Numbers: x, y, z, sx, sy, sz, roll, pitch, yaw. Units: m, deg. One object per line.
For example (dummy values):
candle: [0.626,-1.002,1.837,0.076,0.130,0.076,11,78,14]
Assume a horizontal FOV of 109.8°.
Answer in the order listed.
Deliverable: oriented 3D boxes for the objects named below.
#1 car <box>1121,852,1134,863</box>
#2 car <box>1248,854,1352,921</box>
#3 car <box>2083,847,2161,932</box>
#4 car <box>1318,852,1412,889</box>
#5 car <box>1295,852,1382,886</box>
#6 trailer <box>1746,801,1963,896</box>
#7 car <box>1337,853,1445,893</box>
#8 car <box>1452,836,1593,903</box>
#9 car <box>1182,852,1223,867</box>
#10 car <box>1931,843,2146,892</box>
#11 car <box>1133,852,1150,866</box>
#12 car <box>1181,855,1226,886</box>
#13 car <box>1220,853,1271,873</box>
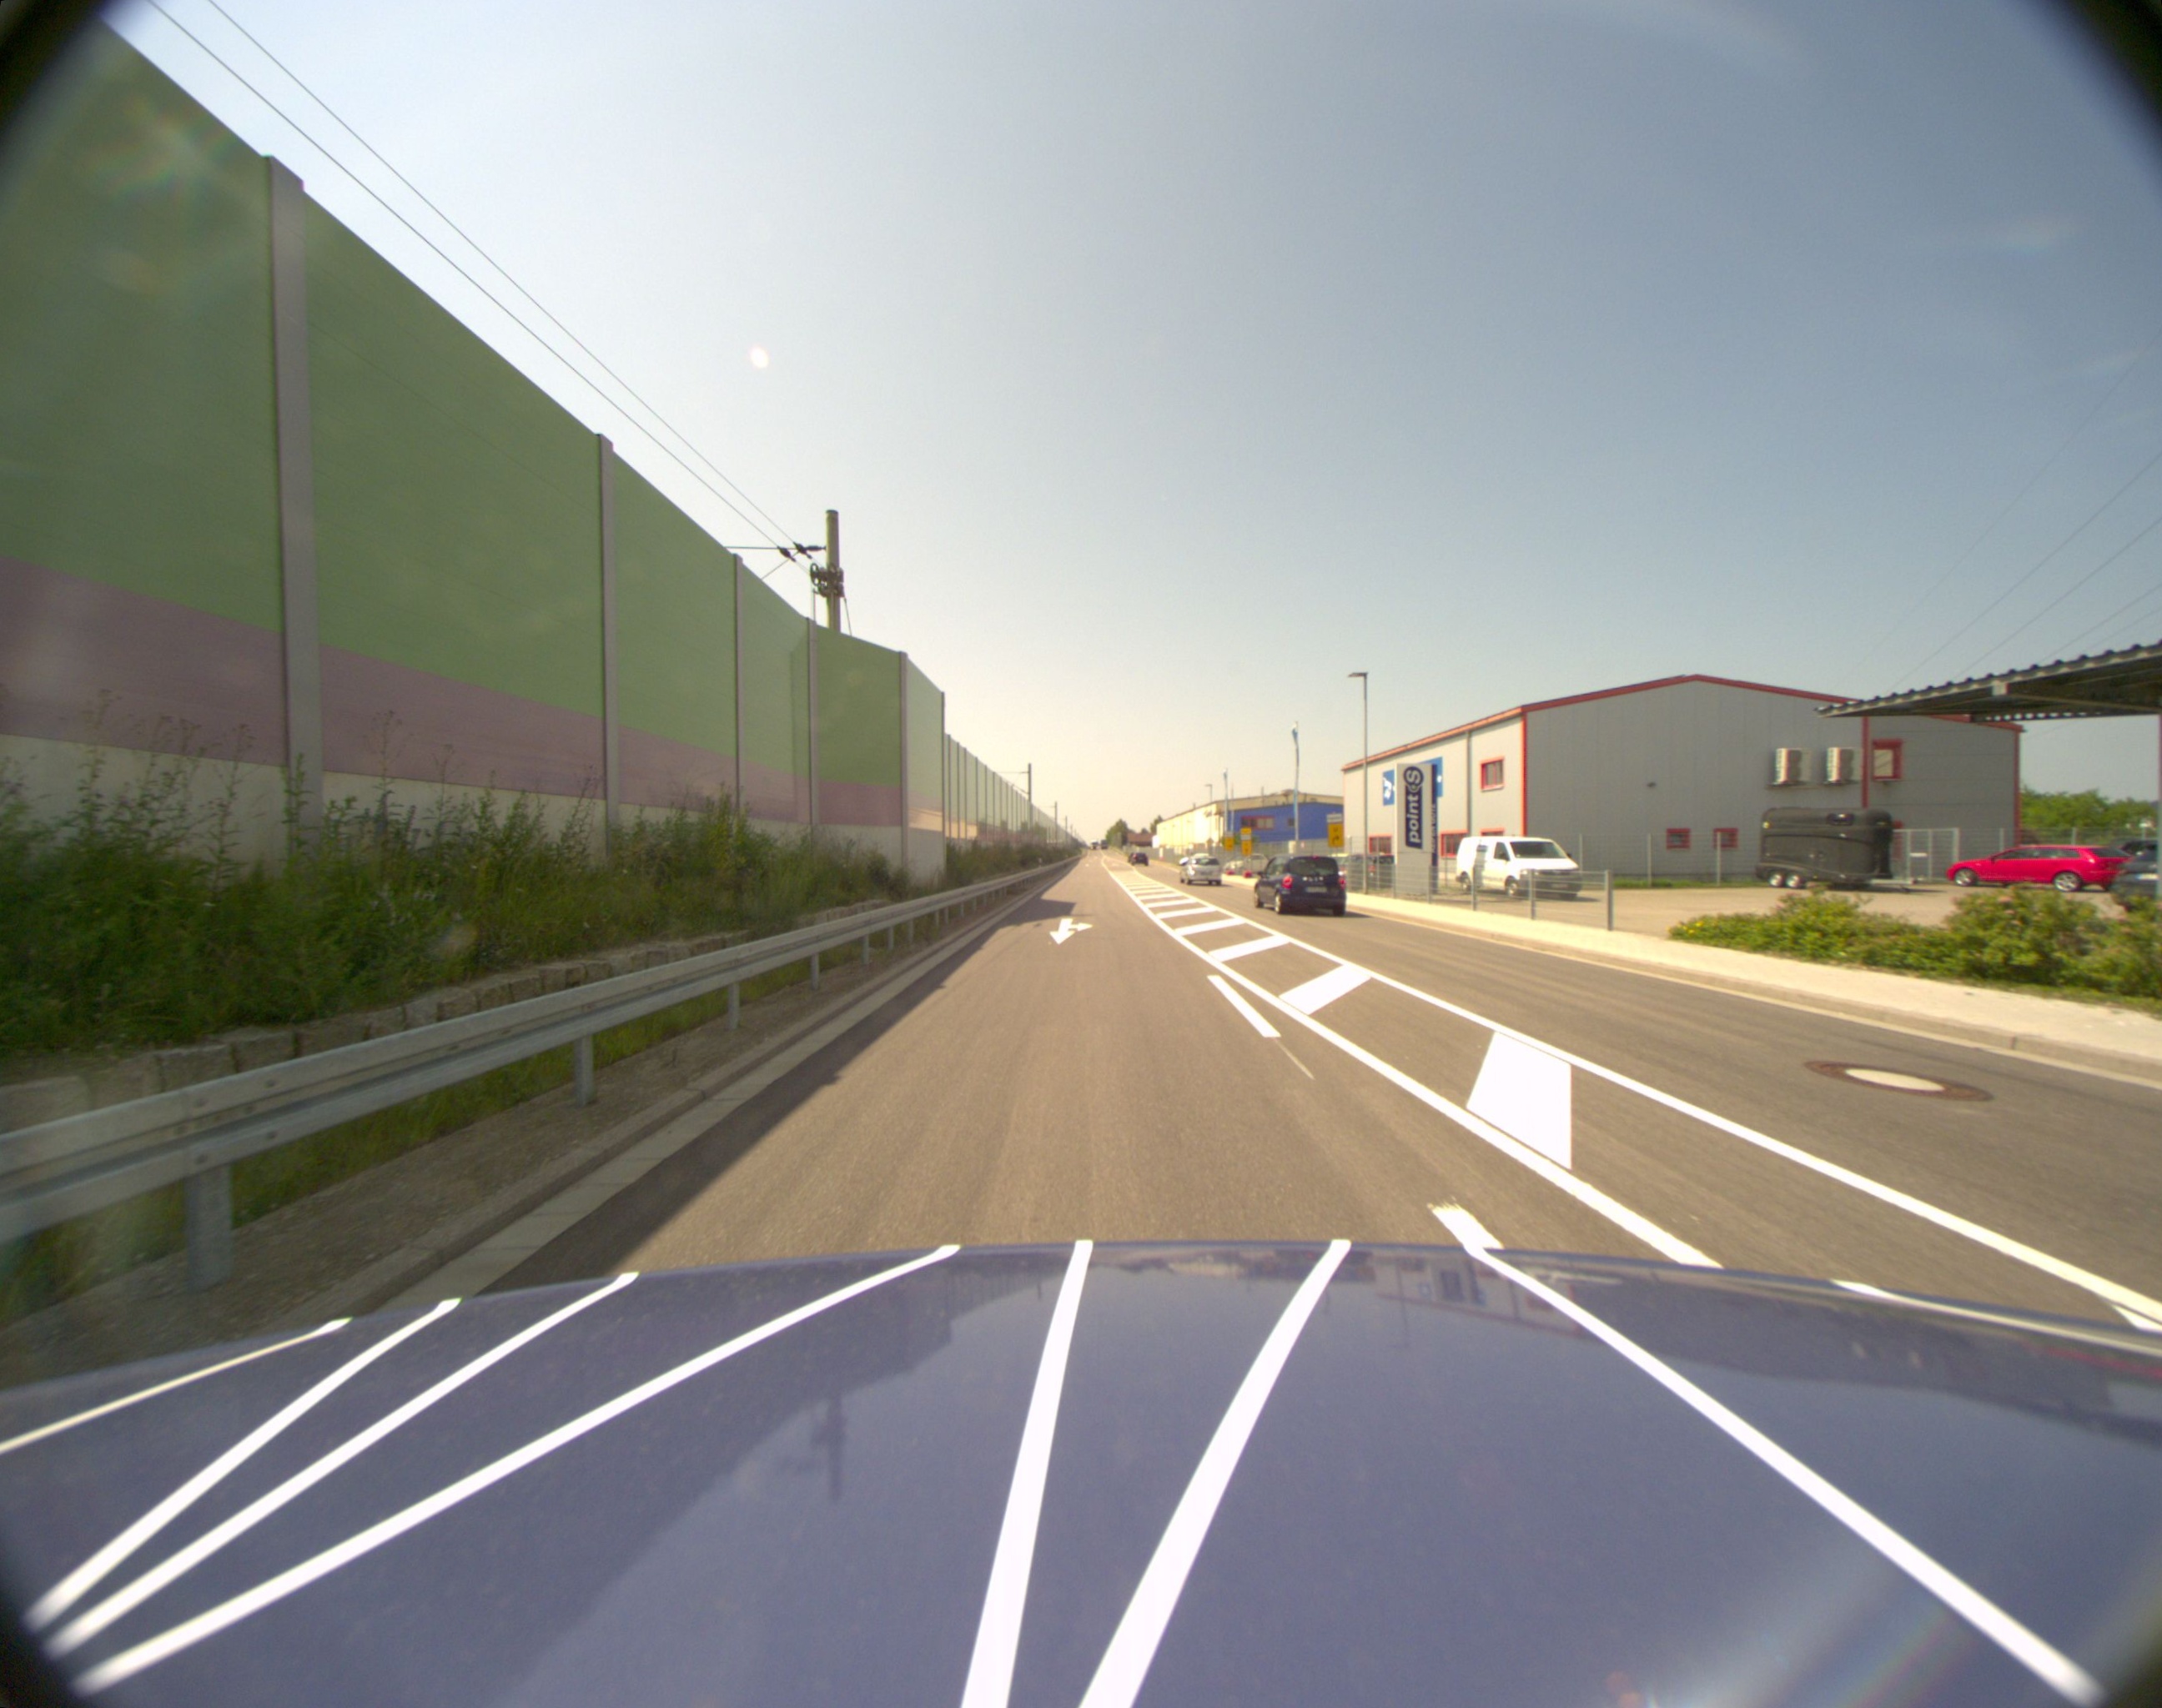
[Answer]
car: [6.923,0.543,113.755,1.746,1.584,3.796,2,0,1]
car: [5.782,0.824,20.512,1.672,1.591,3.973,1,0,1]
car: [20.864,0.620,13.322,3.996,1.477,1.785,0,0,4]
car: [12.492,0.684,33.351,4.007,1.485,1.739,-1,0,-32]
car: [12.102,0.680,35.610,4.101,1.485,1.739,-1,0,-34]
trailer: [25.770,-0.205,25.672,2.167,2.832,5.123,-1,1,1]
car: [12.463,0.710,30.555,4.005,1.485,1.740,-1,0,-24]
car: [14.260,0.426,24.922,1.998,2.002,4.680,0,1,2]
car: [13.049,0.604,81.674,4.153,1.493,1.778,-1,0,19]
car: [31.088,0.411,24.912,1.782,1.440,4.193,0,0,1]
car: [7.244,0.603,91.047,1.885,1.607,4.523,2,0,3]
car: [6.219,0.823,39.059,1.768,1.457,4.260,1,0,2]
car: [12.182,0.636,56.287,3.491,1.456,1.587,-1,1,-24]
